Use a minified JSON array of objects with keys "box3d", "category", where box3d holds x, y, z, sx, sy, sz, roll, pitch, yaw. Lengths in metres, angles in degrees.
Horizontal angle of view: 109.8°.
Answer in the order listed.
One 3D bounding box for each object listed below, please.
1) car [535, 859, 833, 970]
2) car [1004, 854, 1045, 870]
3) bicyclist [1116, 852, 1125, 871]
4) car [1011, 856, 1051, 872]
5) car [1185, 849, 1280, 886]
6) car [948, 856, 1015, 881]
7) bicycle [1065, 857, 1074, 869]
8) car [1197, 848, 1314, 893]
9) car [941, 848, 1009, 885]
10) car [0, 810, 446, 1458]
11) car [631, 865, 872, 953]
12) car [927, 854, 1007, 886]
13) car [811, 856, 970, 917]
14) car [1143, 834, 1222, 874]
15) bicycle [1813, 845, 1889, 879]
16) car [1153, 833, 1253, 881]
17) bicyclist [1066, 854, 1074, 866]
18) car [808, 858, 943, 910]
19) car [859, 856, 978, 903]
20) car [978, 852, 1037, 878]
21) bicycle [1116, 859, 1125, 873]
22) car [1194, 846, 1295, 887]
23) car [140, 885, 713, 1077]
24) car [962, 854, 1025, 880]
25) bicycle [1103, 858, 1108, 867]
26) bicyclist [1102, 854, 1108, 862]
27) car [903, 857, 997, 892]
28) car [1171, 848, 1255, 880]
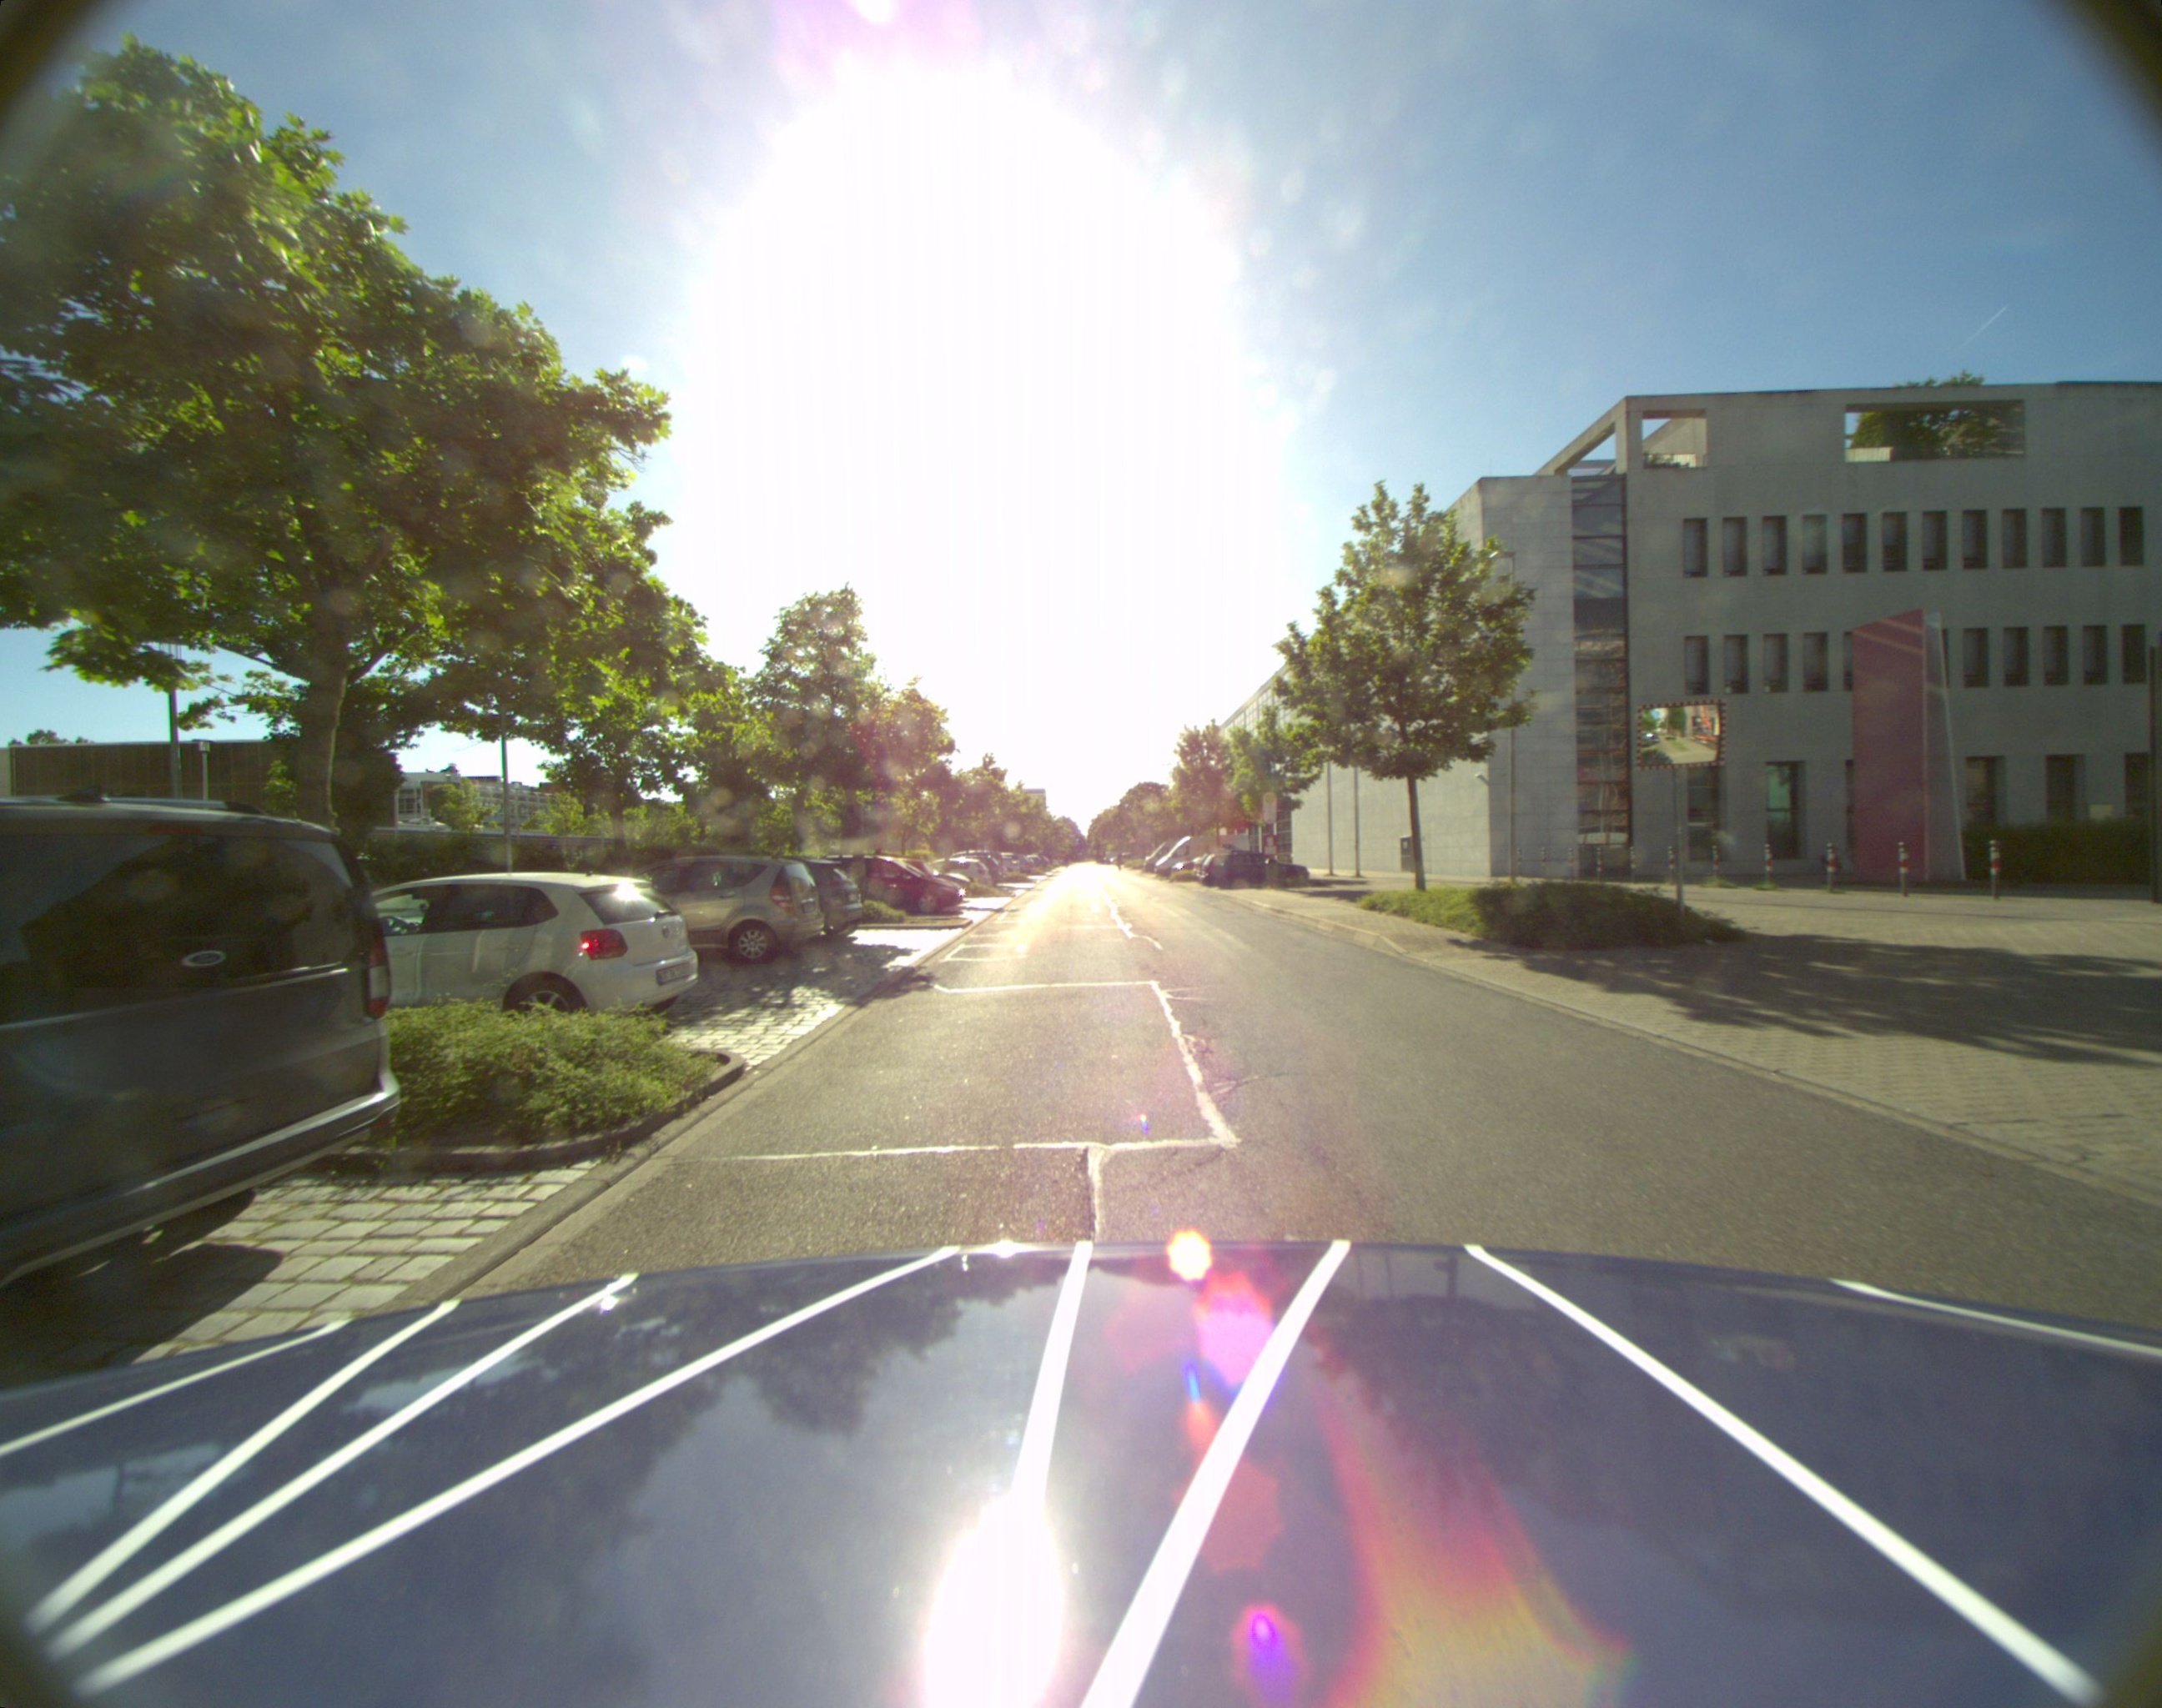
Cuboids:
[{"box3d":[-5.977,0.874,11.750,3.716,1.560,1.676,0,1,1],"category":"car"},{"box3d":[-5.222,0.728,70.605,3.717,1.418,1.676,0,0,0],"category":"car"},{"box3d":[3.530,0.642,68.015,0.792,1.696,1.104,-1,0,2],"category":"bicyclist"},{"box3d":[-4.778,0.968,73.149,3.717,1.418,1.676,0,0,0],"category":"car"},{"box3d":[7.543,0.656,38.024,4.315,1.505,1.693,-4,1,0],"category":"car"},{"box3d":[-5.862,0.830,45.038,3.717,1.418,1.676,0,0,0],"category":"car"},{"box3d":[-1.194,0.941,80.662,0.792,1.215,2.263,-1,0,2],"category":"bicycle"},{"box3d":[7.088,0.665,31.136,4.315,1.505,1.718,-4,1,0],"category":"car"},{"box3d":[-5.584,0.649,40.350,3.391,1.877,1.696,0,1,0],"category":"car"},{"box3d":[-5.343,0.828,2.691,4.413,1.881,2.074,0,1,0],"category":"car"},{"box3d":[-6.025,0.979,14.181,3.716,1.505,1.735,0,0,2],"category":"car"},{"box3d":[-5.608,0.771,37.696,3.717,1.557,1.676,0,1,0],"category":"car"},{"box3d":[-5.161,0.858,20.986,3.961,1.591,1.676,0,1,-2],"category":"car"},{"box3d":[7.628,0.014,57.439,5.582,2.622,2.010,-4,1,2],"category":"car"},{"box3d":[28.780,0.300,28.422,2.262,1.203,0.717,-1,1,-5],"category":"bicycle"},{"box3d":[7.253,0.163,45.636,5.582,2.468,2.010,-4,1,2],"category":"car"},{"box3d":[-1.192,0.643,80.793,0.792,1.215,1.063,-1,0,2],"category":"bicyclist"},{"box3d":[-6.283,0.897,23.507,3.717,1.505,1.676,0,1,0],"category":"car"},{"box3d":[-5.518,0.849,26.078,3.717,1.505,1.676,0,1,0],"category":"car"},{"box3d":[-4.799,0.683,49.844,3.717,1.662,1.676,0,1,0],"category":"car"},{"box3d":[3.543,1.034,68.024,0.792,1.215,2.263,-1,0,2],"category":"bicycle"},{"box3d":[7.616,0.569,35.698,4.315,1.574,1.693,-4,1,0],"category":"car"},{"box3d":[-5.556,1.033,6.833,3.652,1.414,1.676,0,0,-1],"category":"car"},{"box3d":[-5.419,0.798,47.232,3.717,1.516,1.676,0,1,0],"category":"car"},{"box3d":[3.378,1.149,105.054,0.792,1.215,2.263,-1,0,2],"category":"bicycle"},{"box3d":[3.369,0.554,105.142,0.792,1.215,0.823,-1,0,2],"category":"bicyclist"},{"box3d":[-5.648,0.862,33.051,3.761,1.418,1.731,0,0,0],"category":"car"},{"box3d":[7.318,0.538,42.292,4.315,1.505,1.693,-4,1,0],"category":"car"}]
